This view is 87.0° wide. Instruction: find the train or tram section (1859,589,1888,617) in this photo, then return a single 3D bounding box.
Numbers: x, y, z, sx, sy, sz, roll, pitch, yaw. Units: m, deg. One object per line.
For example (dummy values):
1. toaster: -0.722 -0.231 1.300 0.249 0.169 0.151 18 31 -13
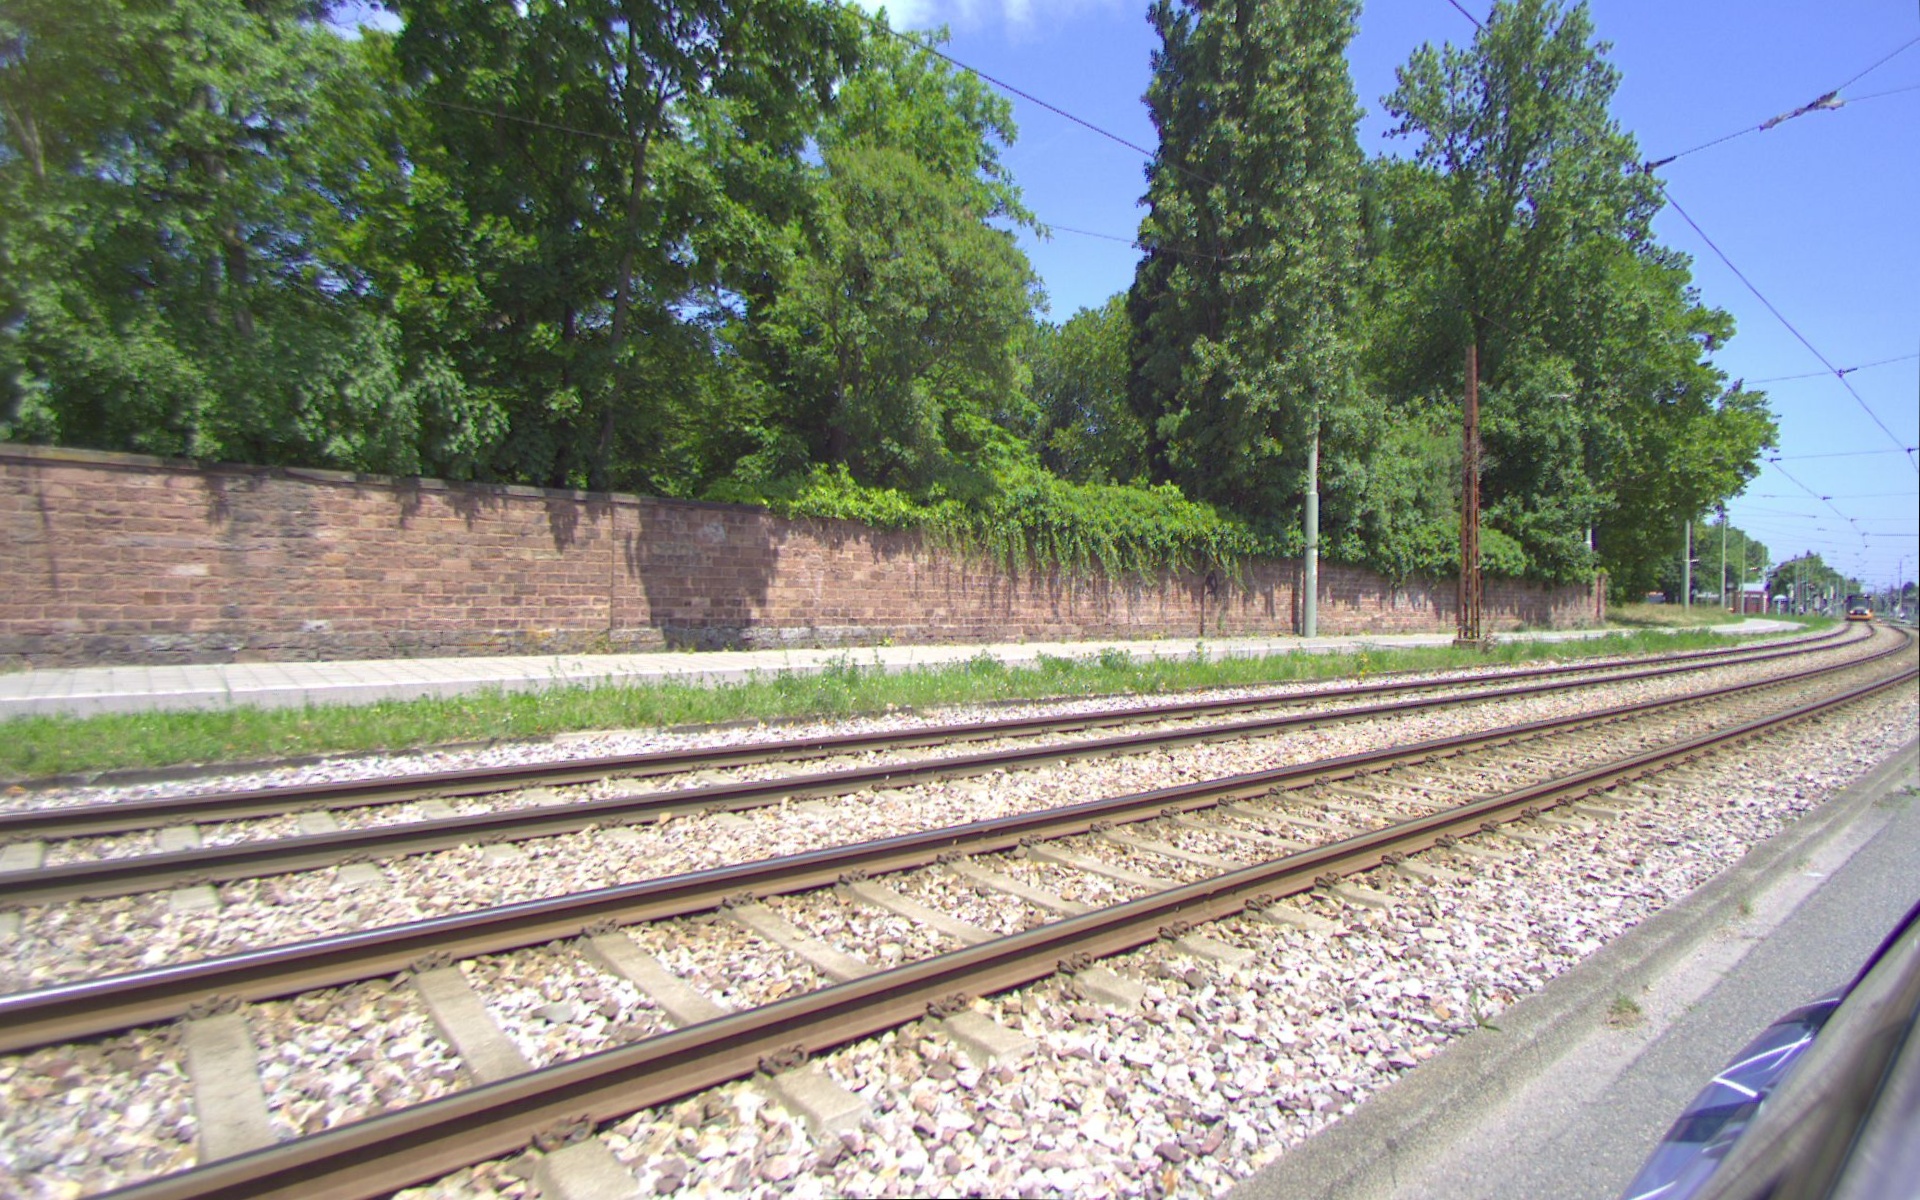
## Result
1. train or tram section: 117.494 0.372 130.109 2.518 3.364 7.145 2 1 43
